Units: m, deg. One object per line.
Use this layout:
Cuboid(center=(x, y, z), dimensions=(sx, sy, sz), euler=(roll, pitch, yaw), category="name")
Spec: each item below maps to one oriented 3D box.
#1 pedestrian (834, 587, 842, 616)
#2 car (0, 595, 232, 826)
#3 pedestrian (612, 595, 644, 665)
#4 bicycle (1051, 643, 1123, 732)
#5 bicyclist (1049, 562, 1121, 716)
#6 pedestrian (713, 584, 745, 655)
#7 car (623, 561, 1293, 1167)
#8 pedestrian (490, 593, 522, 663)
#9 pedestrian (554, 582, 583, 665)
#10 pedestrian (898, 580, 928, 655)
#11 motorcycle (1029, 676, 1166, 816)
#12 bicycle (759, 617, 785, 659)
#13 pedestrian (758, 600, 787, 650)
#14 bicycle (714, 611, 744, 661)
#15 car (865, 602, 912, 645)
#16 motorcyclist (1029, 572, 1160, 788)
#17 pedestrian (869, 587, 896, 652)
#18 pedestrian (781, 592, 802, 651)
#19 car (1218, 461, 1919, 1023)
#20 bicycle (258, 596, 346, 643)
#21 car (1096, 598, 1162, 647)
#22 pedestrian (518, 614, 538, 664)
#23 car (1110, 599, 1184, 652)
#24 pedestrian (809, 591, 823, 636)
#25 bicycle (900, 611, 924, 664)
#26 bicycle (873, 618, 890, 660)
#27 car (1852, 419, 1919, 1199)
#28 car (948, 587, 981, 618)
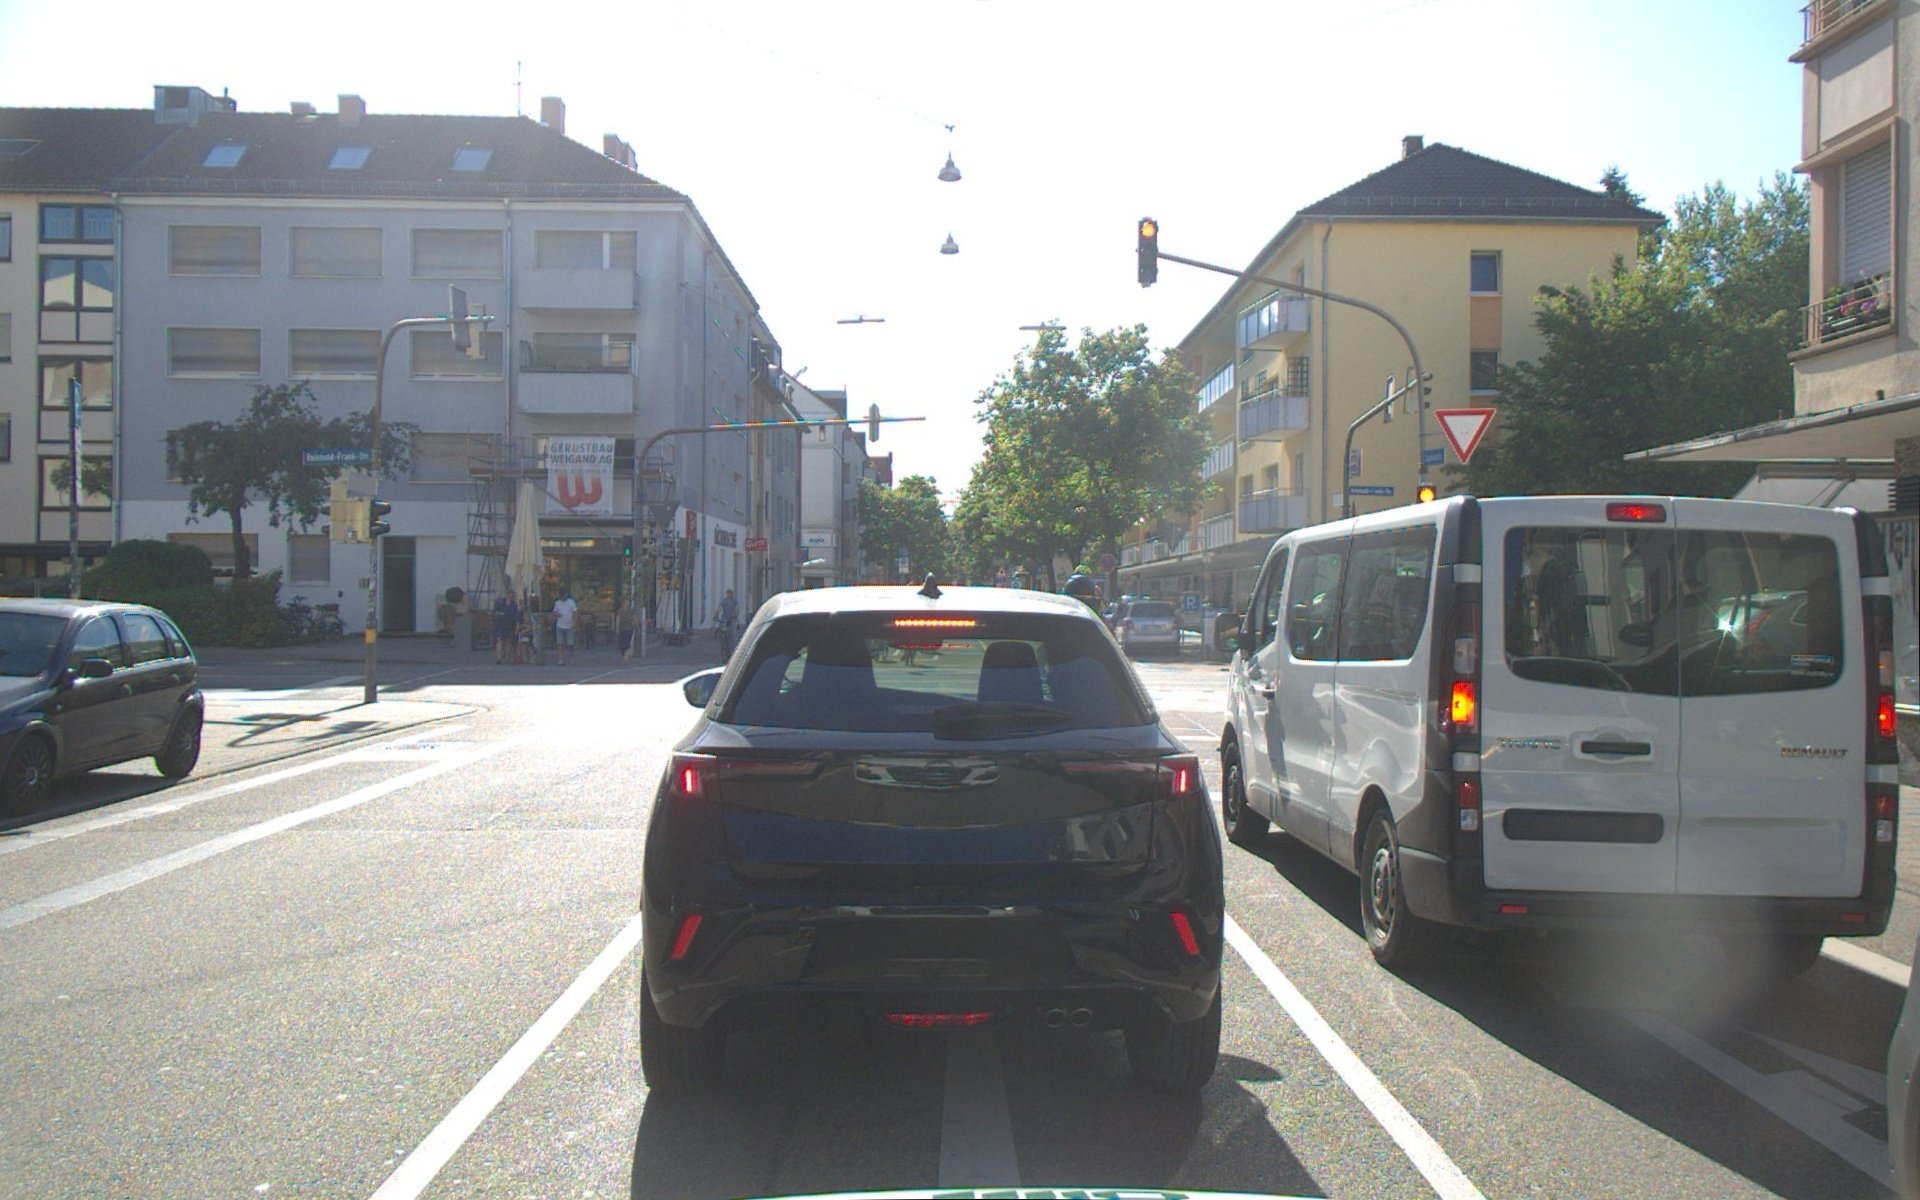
Cuboid(center=(-7.238, 0.071, 98.179), dimensions=(0.394, 1.704, 0.417), euler=(0, 0, -1), category="pedestrian")
Cuboid(center=(-7.075, 0.719, 12.433), dimensions=(1.584, 1.450, 3.709), euler=(2, 0, -1), category="car")
Cuboid(center=(-7.390, 0.666, 36.816), dimensions=(0.605, 1.547, 0.724), euler=(0, 0, -4), category="pedestrian")
Cuboid(center=(1.470, 1.000, 19.488), dimensions=(0.565, 0.920, 2.300), euler=(0, 0, -3), category="bicycle")
Cuboid(center=(1.452, 0.439, 19.471), dimensions=(0.675, 1.742, 1.413), euler=(0, 0, -3), category="bicyclist")
Cuboid(center=(-5.590, 0.469, 40.027), dimensions=(0.692, 1.707, 0.802), euler=(0, 0, -3), category="pedestrian")
Cuboid(center=(-0.083, 0.672, 6.296), dimensions=(1.735, 1.557, 3.998), euler=(0, 0, -3), category="car")
Cuboid(center=(-10.213, 0.620, 37.208), dimensions=(0.573, 1.547, 0.649), euler=(0, 0, -4), category="pedestrian")
Cuboid(center=(-8.607, 0.517, 36.358), dimensions=(0.550, 1.806, 0.582), euler=(1, 0, -9), category="pedestrian")
Cuboid(center=(-1.101, 0.408, 38.508), dimensions=(0.692, 1.731, 0.802), euler=(0, 0, -3), category="pedestrian")
Cuboid(center=(0.976, 1.035, 12.192), dimensions=(0.808, 0.860, 1.884), euler=(0, 0, -1), category="motorcycle")
Cuboid(center=(-4.870, 0.969, 42.856), dimensions=(0.511, 1.010, 2.338), euler=(0, 0, -3), category="bicycle")
Cuboid(center=(-4.869, 0.649, 43.023), dimensions=(0.692, 1.275, 0.802), euler=(0, 0, -3), category="pedestrian")
Cuboid(center=(-5.607, 0.866, 40.256), dimensions=(0.511, 1.167, 2.282), euler=(0, 0, -3), category="bicycle")
Cuboid(center=(-3.067, 0.996, 71.203), dimensions=(1.787, 1.758, 4.000), euler=(0, 0, 1), category="car")
Cuboid(center=(0.984, 0.569, 12.361), dimensions=(0.846, 1.528, 1.159), euler=(0, 0, -2), category="motorcyclist")
Cuboid(center=(-1.978, 0.489, 42.360), dimensions=(0.666, 1.634, 0.762), euler=(0, 0, -3), category="pedestrian")
Cuboid(center=(-4.986, 0.638, 48.959), dimensions=(0.558, 1.719, 0.588), euler=(0, 0, -1), category="pedestrian")
Cuboid(center=(2.734, 0.513, 8.489), dimensions=(1.953, 2.014, 4.894), euler=(1, 0, -1), category="car")
Cuboid(center=(-16.886, 0.491, 42.463), dimensions=(2.067, 1.193, 0.735), euler=(0, 0, -25), category="bicycle")
Cuboid(center=(5.276, 0.671, 51.996), dimensions=(1.601, 1.458, 3.999), euler=(0, 0, -1), category="car")
Cuboid(center=(-9.742, 0.870, 37.280), dimensions=(0.348, 1.111, 0.461), euler=(0, 0, -4), category="pedestrian")
Cuboid(center=(5.301, 0.700, 47.316), dimensions=(1.601, 1.458, 3.956), euler=(0, 0, -1), category="car")
Cuboid(center=(-5.529, 0.520, 63.345), dimensions=(0.478, 1.719, 0.588), euler=(0, 0, -1), category="pedestrian")
Cuboid(center=(-1.124, 0.862, 38.663), dimensions=(0.511, 1.167, 2.169), euler=(0, 0, -3), category="bicycle")
Cuboid(center=(-2.020, 0.995, 42.602), dimensions=(0.434, 1.010, 2.068), euler=(0, 0, -3), category="bicycle")
Cuboid(center=(3.011, 0.589, 1.221), dimensions=(1.800, 1.901, 4.993), euler=(0, 0, -3), category="car")
Cuboid(center=(0.272, 0.148, 97.796), dimensions=(1.863, 1.758, 4.073), euler=(0, 0, 0), category="car")
